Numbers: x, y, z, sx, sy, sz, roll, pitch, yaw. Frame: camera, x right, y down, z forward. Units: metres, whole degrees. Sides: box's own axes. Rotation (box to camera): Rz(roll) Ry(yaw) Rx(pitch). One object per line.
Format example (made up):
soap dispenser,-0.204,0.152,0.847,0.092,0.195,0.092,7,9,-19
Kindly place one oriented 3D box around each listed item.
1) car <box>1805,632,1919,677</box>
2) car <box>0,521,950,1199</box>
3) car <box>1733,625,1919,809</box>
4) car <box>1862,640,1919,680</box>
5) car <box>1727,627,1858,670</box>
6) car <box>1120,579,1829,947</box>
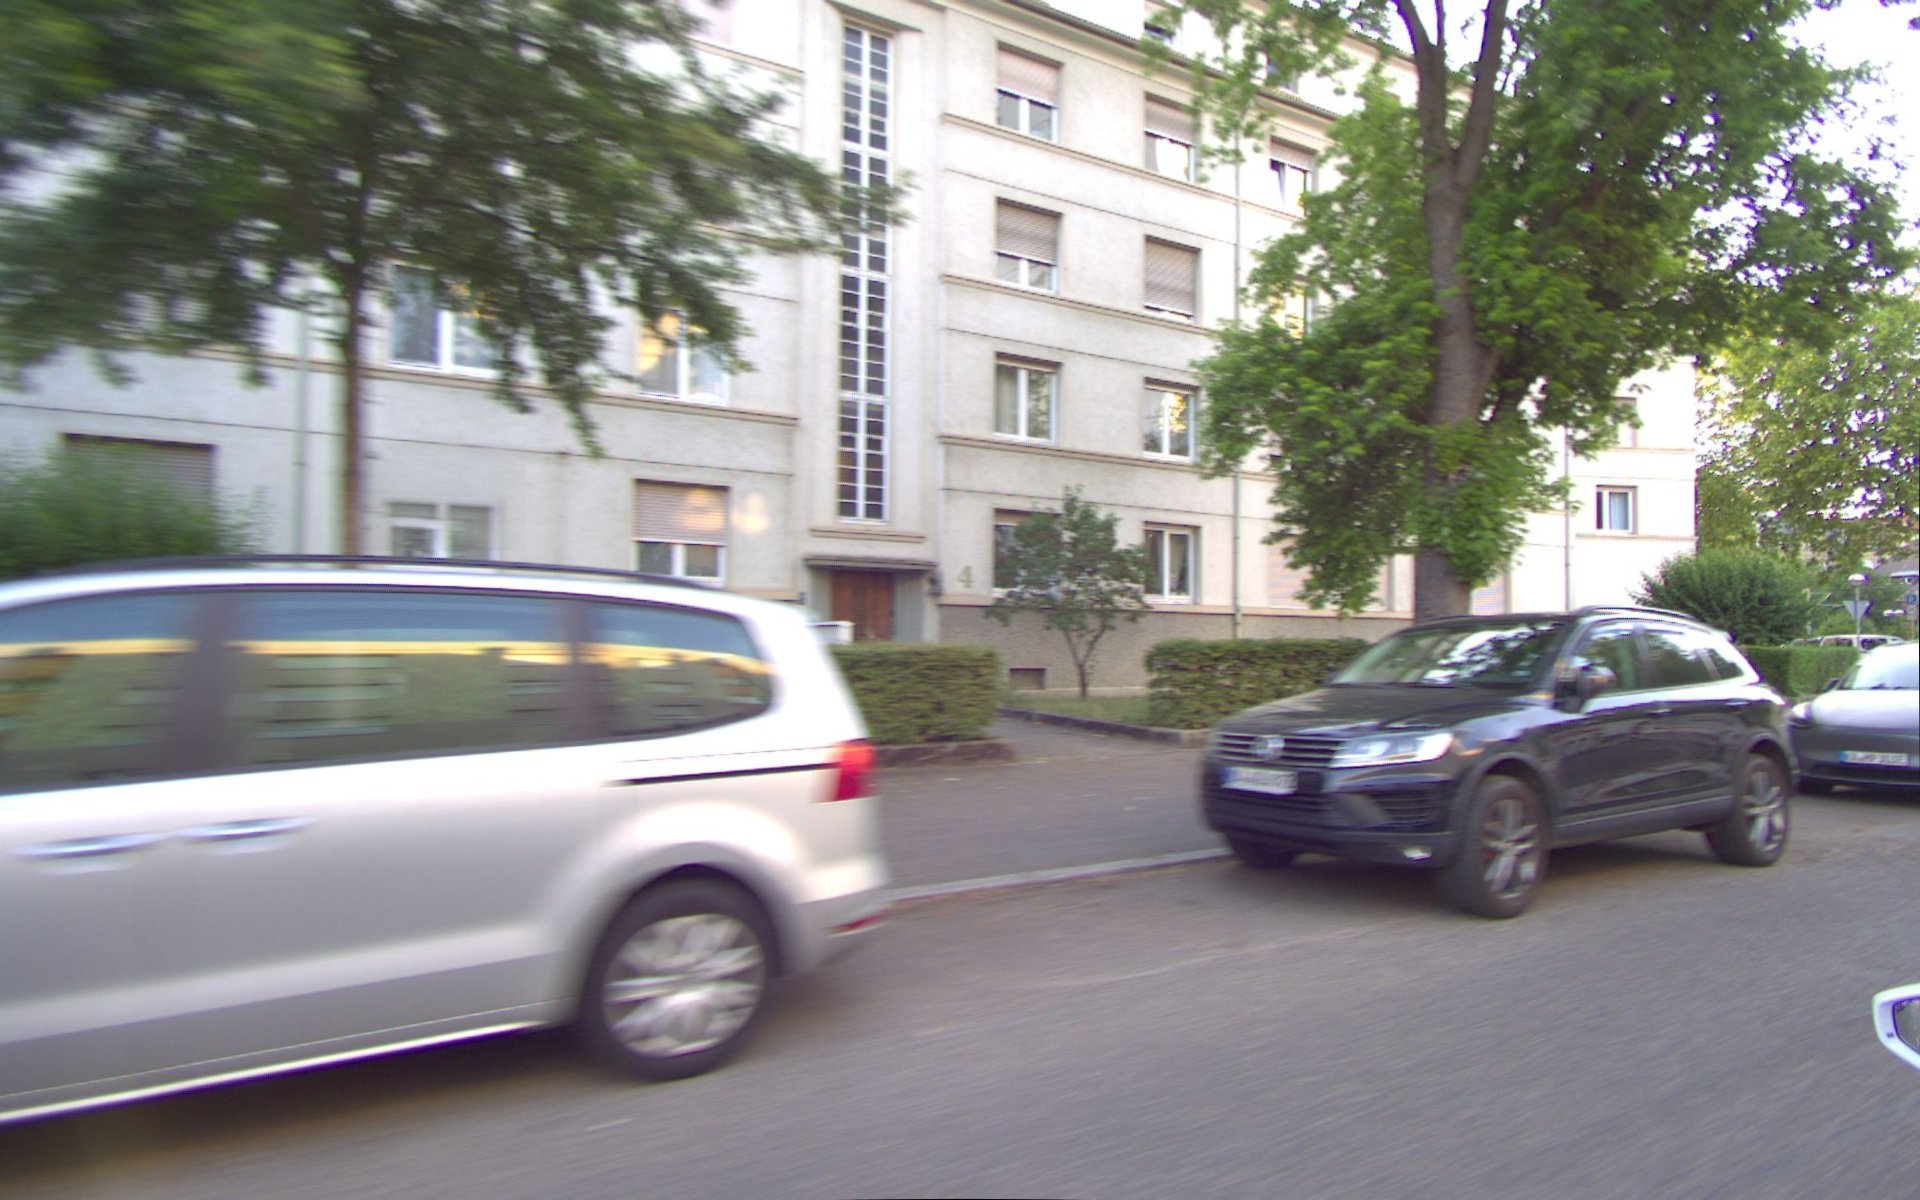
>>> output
car,39.384,2.332,43.398,4.546,1.824,1.822,0,-2,-9
car,-2.564,0.730,3.354,4.802,1.712,1.838,2,-4,-30
car,10.369,1.131,10.480,4.548,1.637,1.946,2,-4,-29
car,38.814,2.353,40.200,4.553,1.501,1.820,0,-2,-15
car,37.737,2.191,45.602,4.546,1.865,2.082,0,-2,-9
car,3.564,0.892,6.795,4.713,1.741,1.946,2,-4,-29
